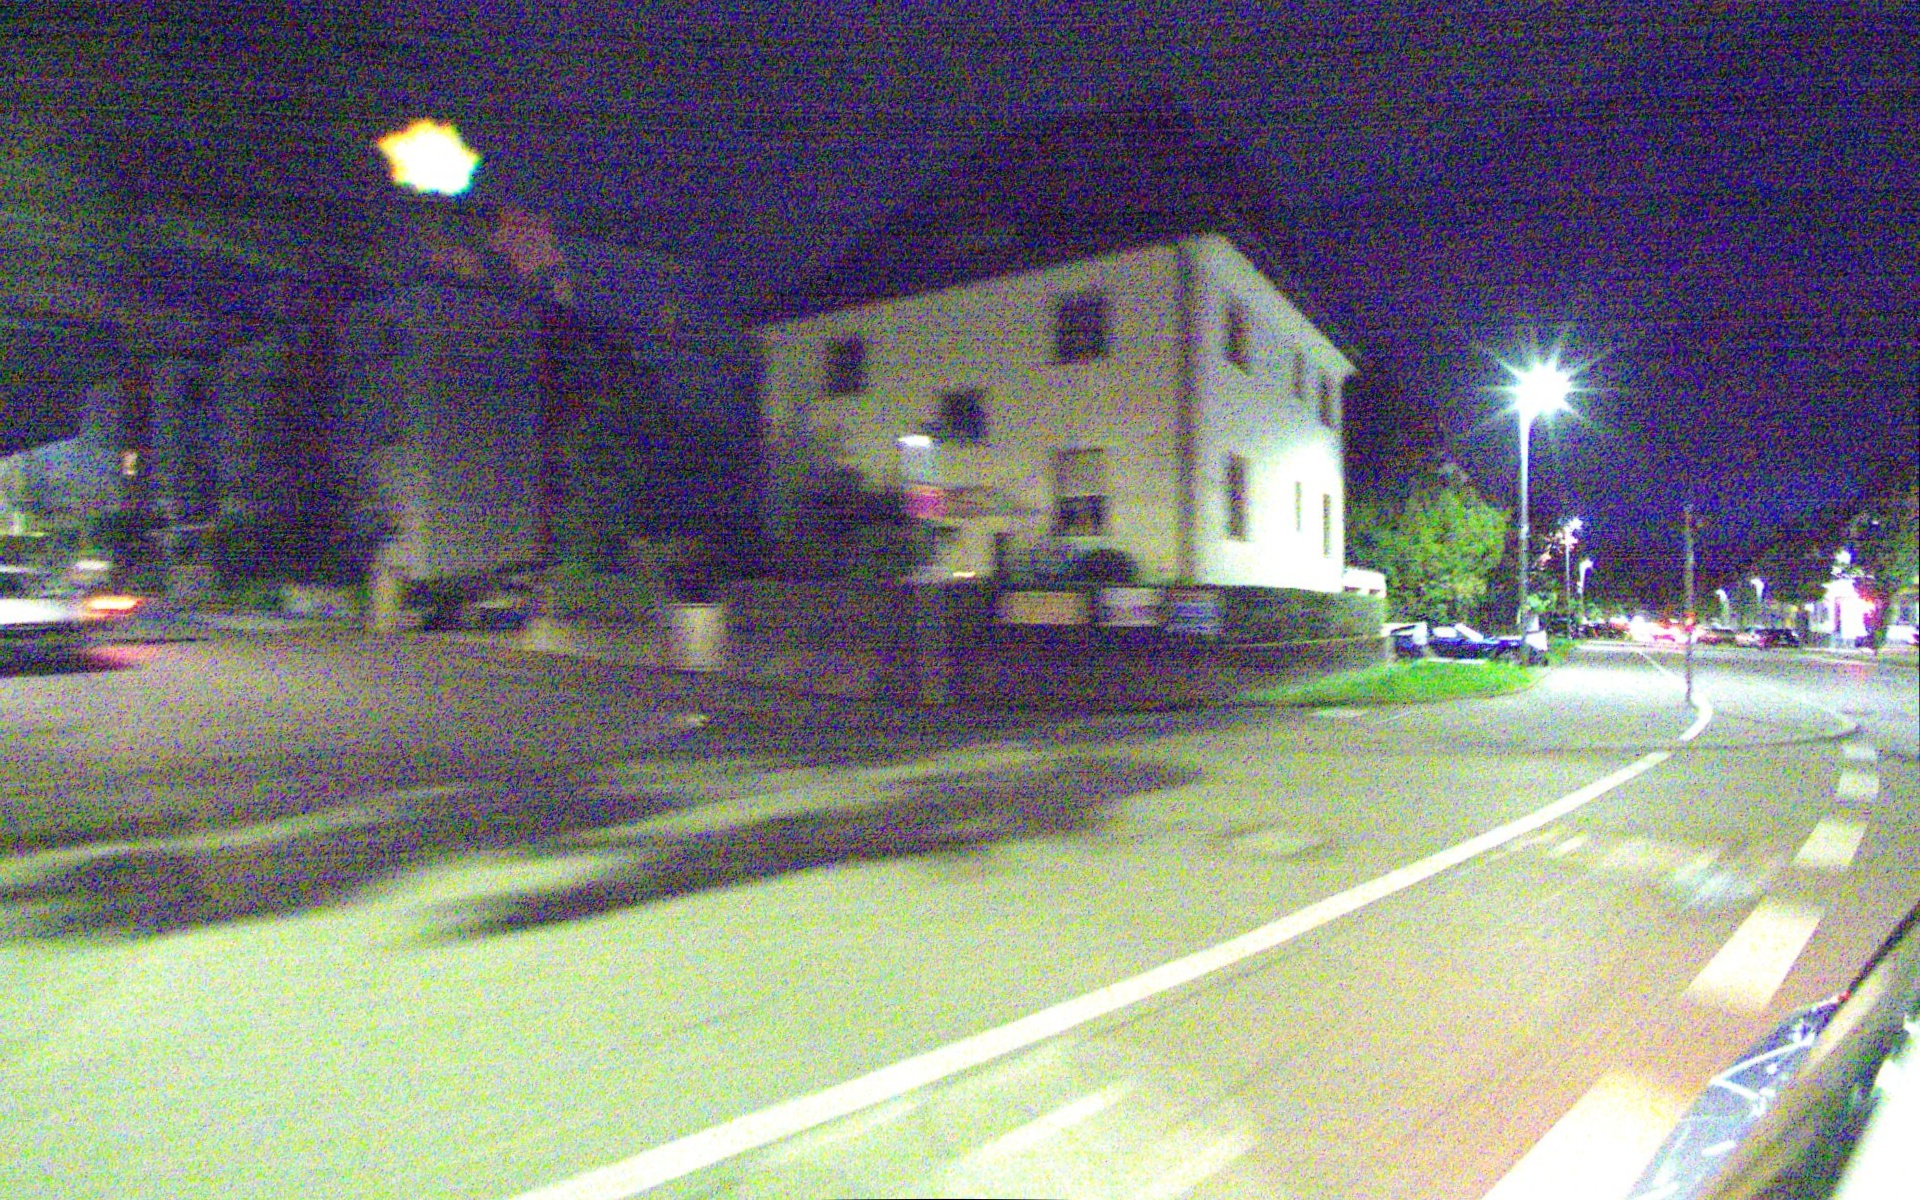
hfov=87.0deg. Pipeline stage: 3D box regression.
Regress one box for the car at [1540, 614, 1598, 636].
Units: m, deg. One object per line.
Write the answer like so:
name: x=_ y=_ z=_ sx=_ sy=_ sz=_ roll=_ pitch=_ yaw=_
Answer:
car: x=48.677 y=2.004 z=80.901 sx=3.890 sy=1.505 sz=1.810 roll=2 pitch=0 yaw=34

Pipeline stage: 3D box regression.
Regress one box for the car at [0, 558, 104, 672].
car: x=-14.014 y=0.137 z=14.461 sx=3.878 sy=1.471 sz=1.921 roll=2 pitch=2 yaw=37

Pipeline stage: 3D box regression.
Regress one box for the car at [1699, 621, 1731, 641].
car: x=77.624 y=3.223 z=104.098 sx=2.105 sy=1.972 sz=4.832 roll=-2 pitch=-3 yaw=31

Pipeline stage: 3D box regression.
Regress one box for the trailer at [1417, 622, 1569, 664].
trailer: x=14.255 y=1.148 z=27.104 sx=3.418 sy=1.015 sz=1.930 roll=-3 pitch=-3 yaw=34

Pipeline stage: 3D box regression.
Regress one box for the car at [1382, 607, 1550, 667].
car: x=11.815 y=0.834 z=23.661 sx=3.376 sy=1.248 sz=1.704 roll=1 pitch=-1 yaw=32

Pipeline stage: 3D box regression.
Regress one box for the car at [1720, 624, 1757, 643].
car: x=72.058 y=3.046 z=93.735 sx=2.105 sy=1.568 sz=4.427 roll=-4 pitch=-2 yaw=31

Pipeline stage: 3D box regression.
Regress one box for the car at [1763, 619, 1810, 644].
car: x=51.783 y=1.959 z=63.478 sx=1.741 sy=1.488 sz=3.962 roll=0 pitch=-2 yaw=32

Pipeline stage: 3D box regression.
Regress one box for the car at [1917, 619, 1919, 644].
car: x=61.741 y=1.960 z=61.851 sx=4.283 sy=1.582 sz=2.010 roll=1 pitch=-1 yaw=27

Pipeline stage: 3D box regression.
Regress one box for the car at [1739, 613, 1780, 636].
car: x=60.355 y=1.844 z=76.465 sx=1.920 sy=1.658 sz=4.418 roll=-1 pitch=-2 yaw=32

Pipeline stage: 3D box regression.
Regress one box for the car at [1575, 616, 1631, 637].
car: x=62.278 y=2.527 z=98.033 sx=4.348 sy=1.839 sz=2.002 roll=1 pitch=-1 yaw=40

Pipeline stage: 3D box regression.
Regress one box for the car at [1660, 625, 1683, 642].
car: x=78.100 y=3.666 z=111.102 sx=1.996 sy=1.770 sz=4.501 roll=0 pitch=-2 yaw=34

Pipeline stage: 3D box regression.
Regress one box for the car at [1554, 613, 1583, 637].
car: x=41.870 y=1.698 z=69.604 sx=1.632 sy=1.580 sz=3.635 roll=1 pitch=-1 yaw=32

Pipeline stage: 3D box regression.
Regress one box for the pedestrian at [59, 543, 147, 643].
pedestrian: x=-15.068 y=-0.126 z=17.794 sx=1.320 sy=1.698 sz=0.677 roll=0 pitch=-1 yaw=26
